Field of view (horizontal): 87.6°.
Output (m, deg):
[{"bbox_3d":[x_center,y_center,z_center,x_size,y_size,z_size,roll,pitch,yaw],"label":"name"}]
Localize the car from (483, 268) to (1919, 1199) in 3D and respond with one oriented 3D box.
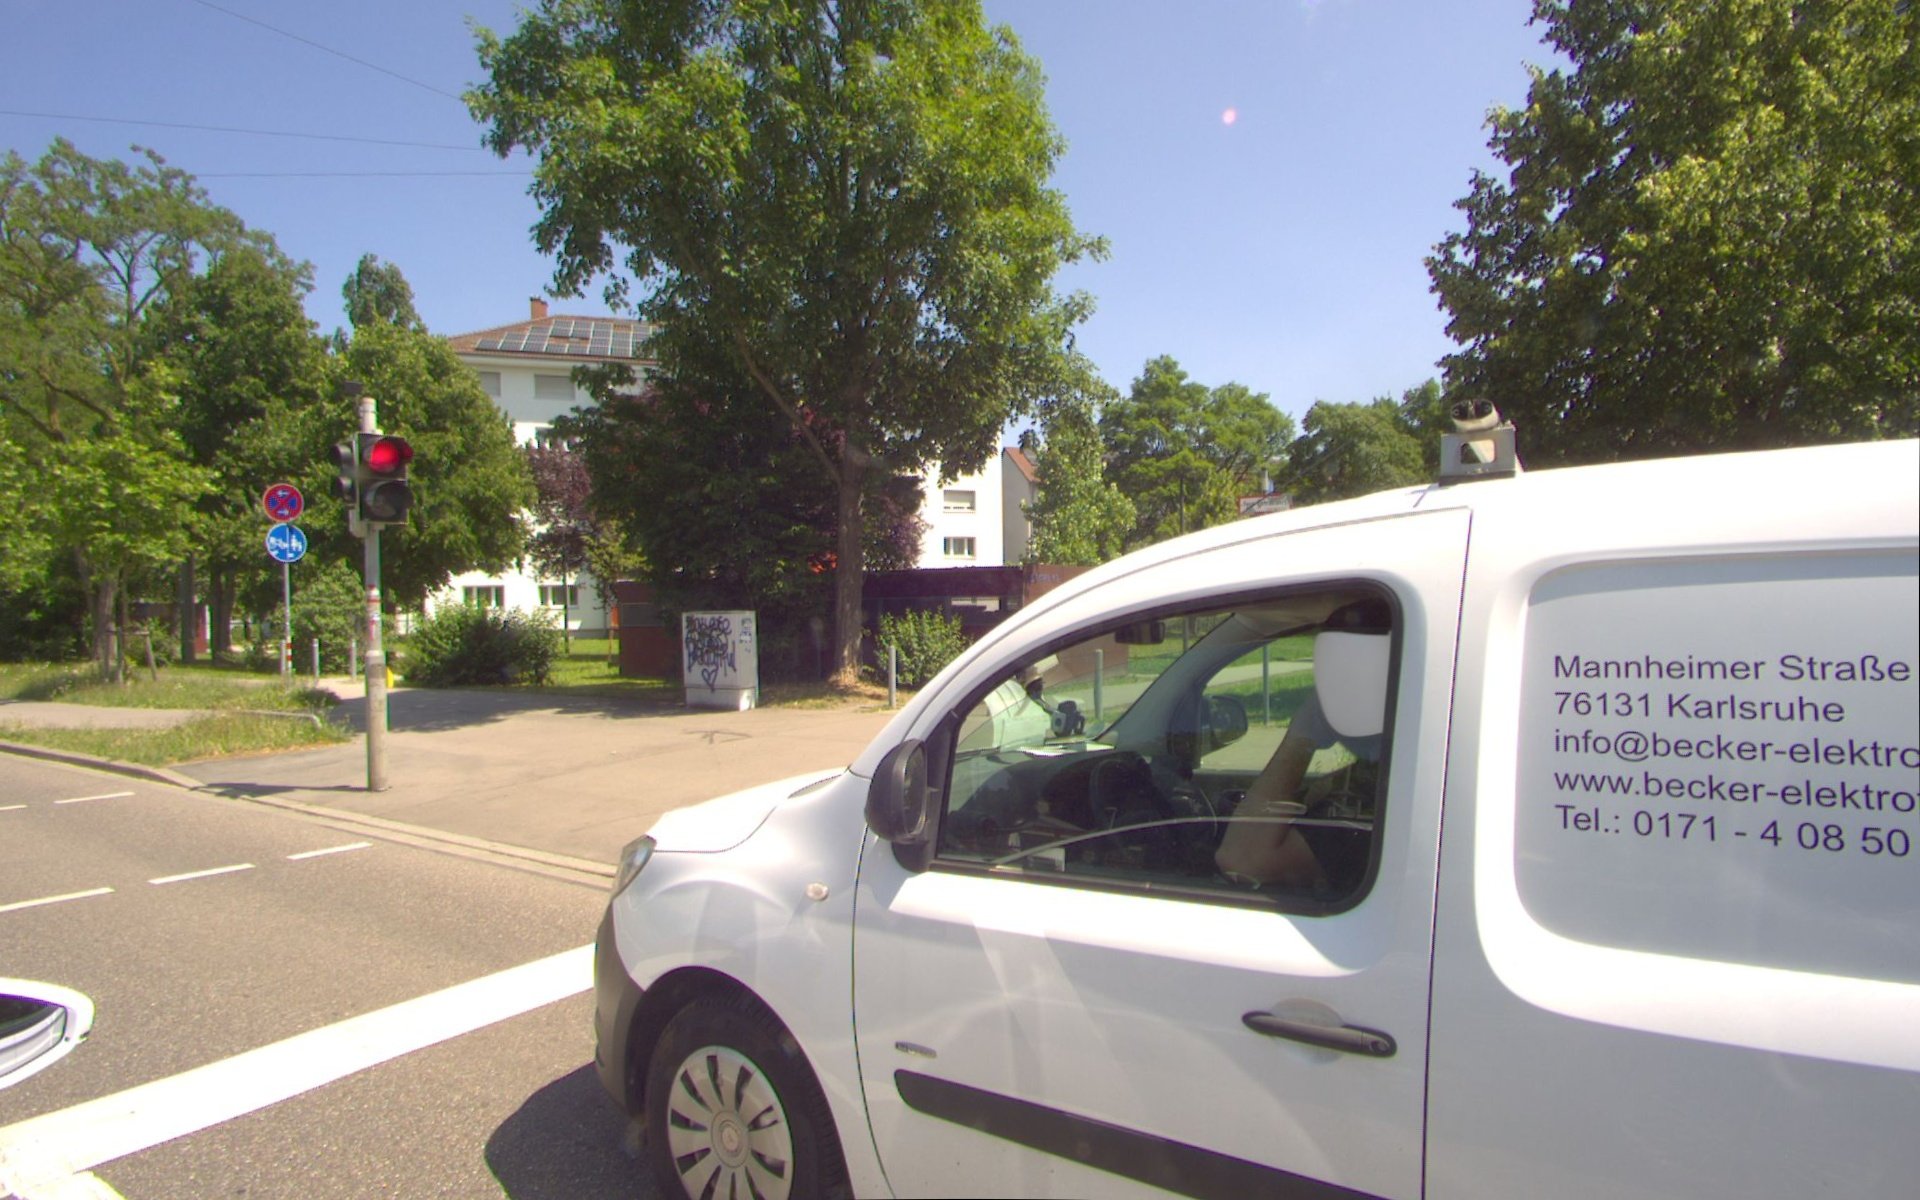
[{"bbox_3d":[1.123,0.564,2.303,4.384,1.850,1.990,-1,0,32],"label":"car"}]
